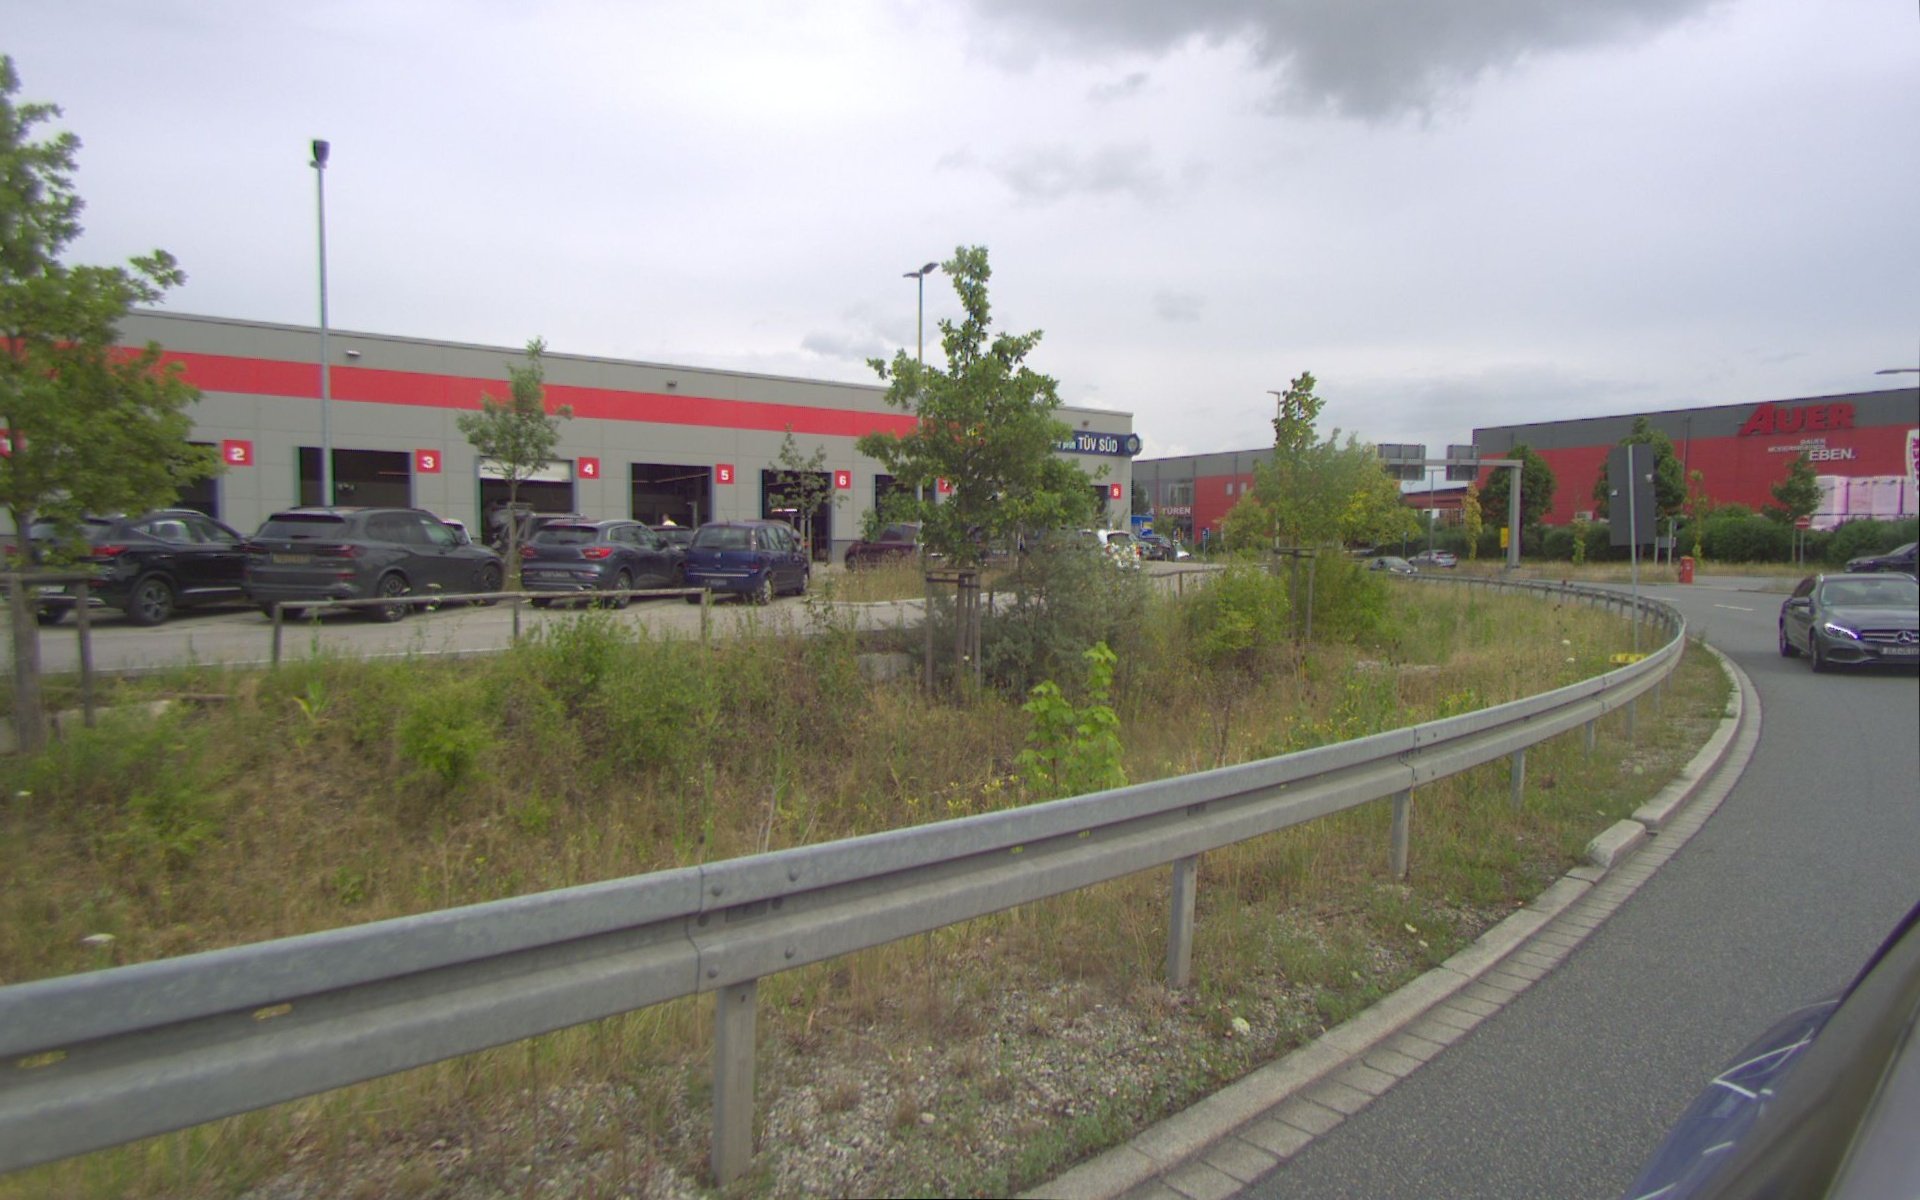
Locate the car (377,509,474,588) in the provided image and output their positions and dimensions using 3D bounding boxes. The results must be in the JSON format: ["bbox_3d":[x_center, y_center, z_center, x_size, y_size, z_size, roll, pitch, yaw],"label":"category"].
[{"bbox_3d":[-12.020,-1.220,22.671,1.565,1.578,3.775,-1,5,-33],"label":"car"}]

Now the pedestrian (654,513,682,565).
[{"bbox_3d":[-10.059,-2.088,34.848,0.626,1.763,0.667,3,3,36],"label":"pedestrian"}]

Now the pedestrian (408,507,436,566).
[{"bbox_3d":[-16.231,-1.908,30.532,0.580,1.763,0.639,0,2,-11],"label":"pedestrian"}]

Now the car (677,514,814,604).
[{"bbox_3d":[-4.331,-0.929,21.000,1.639,1.657,3.762,1,5,7],"label":"car"}]

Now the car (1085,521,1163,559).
[{"bbox_3d":[8.524,-3.111,52.894,1.672,1.833,3.973,1,2,-34],"label":"car"}]

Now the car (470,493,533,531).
[{"bbox_3d":[-16.864,-3.197,37.119,1.629,1.240,3.917,-1,3,-32],"label":"car"}]

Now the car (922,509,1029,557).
[{"bbox_3d":[0.418,-1.980,30.559,1.612,1.350,3.449,-2,3,-32],"label":"car"}]

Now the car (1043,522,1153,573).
[{"bbox_3d":[4.541,-1.787,33.681,1.612,1.556,3.632,-1,5,-33],"label":"car"}]

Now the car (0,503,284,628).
[{"bbox_3d":[-12.283,-0.617,15.415,1.617,1.649,3.714,1,5,-3],"label":"car"}]

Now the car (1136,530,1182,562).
[{"bbox_3d":[12.588,-3.441,63.941,1.786,1.803,4.136,-1,5,26],"label":"car"}]

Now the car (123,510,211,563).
[{"bbox_3d":[-24.468,-1.924,31.342,1.653,1.459,3.603,2,1,-31],"label":"car"}]

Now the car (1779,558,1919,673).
[{"bbox_3d":[14.509,0.160,15.955,1.892,1.515,4.292,-1,2,32],"label":"car"}]

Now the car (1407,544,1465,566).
[{"bbox_3d":[34.562,-3.271,73.611,1.433,1.503,4.105,-5,3,-14],"label":"car"}]

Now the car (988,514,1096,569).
[{"bbox_3d":[2.559,-1.846,32.297,1.698,1.655,3.449,-2,3,-32],"label":"car"}]

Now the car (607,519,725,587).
[{"bbox_3d":[-7.496,-1.248,25.598,1.689,1.552,3.898,-3,6,-35],"label":"car"}]

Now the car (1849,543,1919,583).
[{"bbox_3d":[39.203,-1.537,41.152,4.213,1.568,1.858,0,3,27],"label":"car"}]

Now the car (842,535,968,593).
[{"bbox_3d":[-1.666,-1.077,29.332,1.647,1.556,3.881,-1,4,-40],"label":"car"}]

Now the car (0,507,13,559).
[{"bbox_3d":[-28.728,-1.972,28.824,1.761,1.534,3.917,2,1,-32],"label":"car"}]

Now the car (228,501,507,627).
[{"bbox_3d":[-9.535,-0.705,16.826,1.799,1.754,4.551,2,5,3],"label":"car"}]

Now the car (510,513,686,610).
[{"bbox_3d":[-6.796,-0.823,19.443,1.728,1.626,3.806,2,5,6],"label":"car"}]

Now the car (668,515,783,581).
[{"bbox_3d":[-6.431,-1.480,27.495,1.689,1.648,3.898,-3,6,-35],"label":"car"}]
